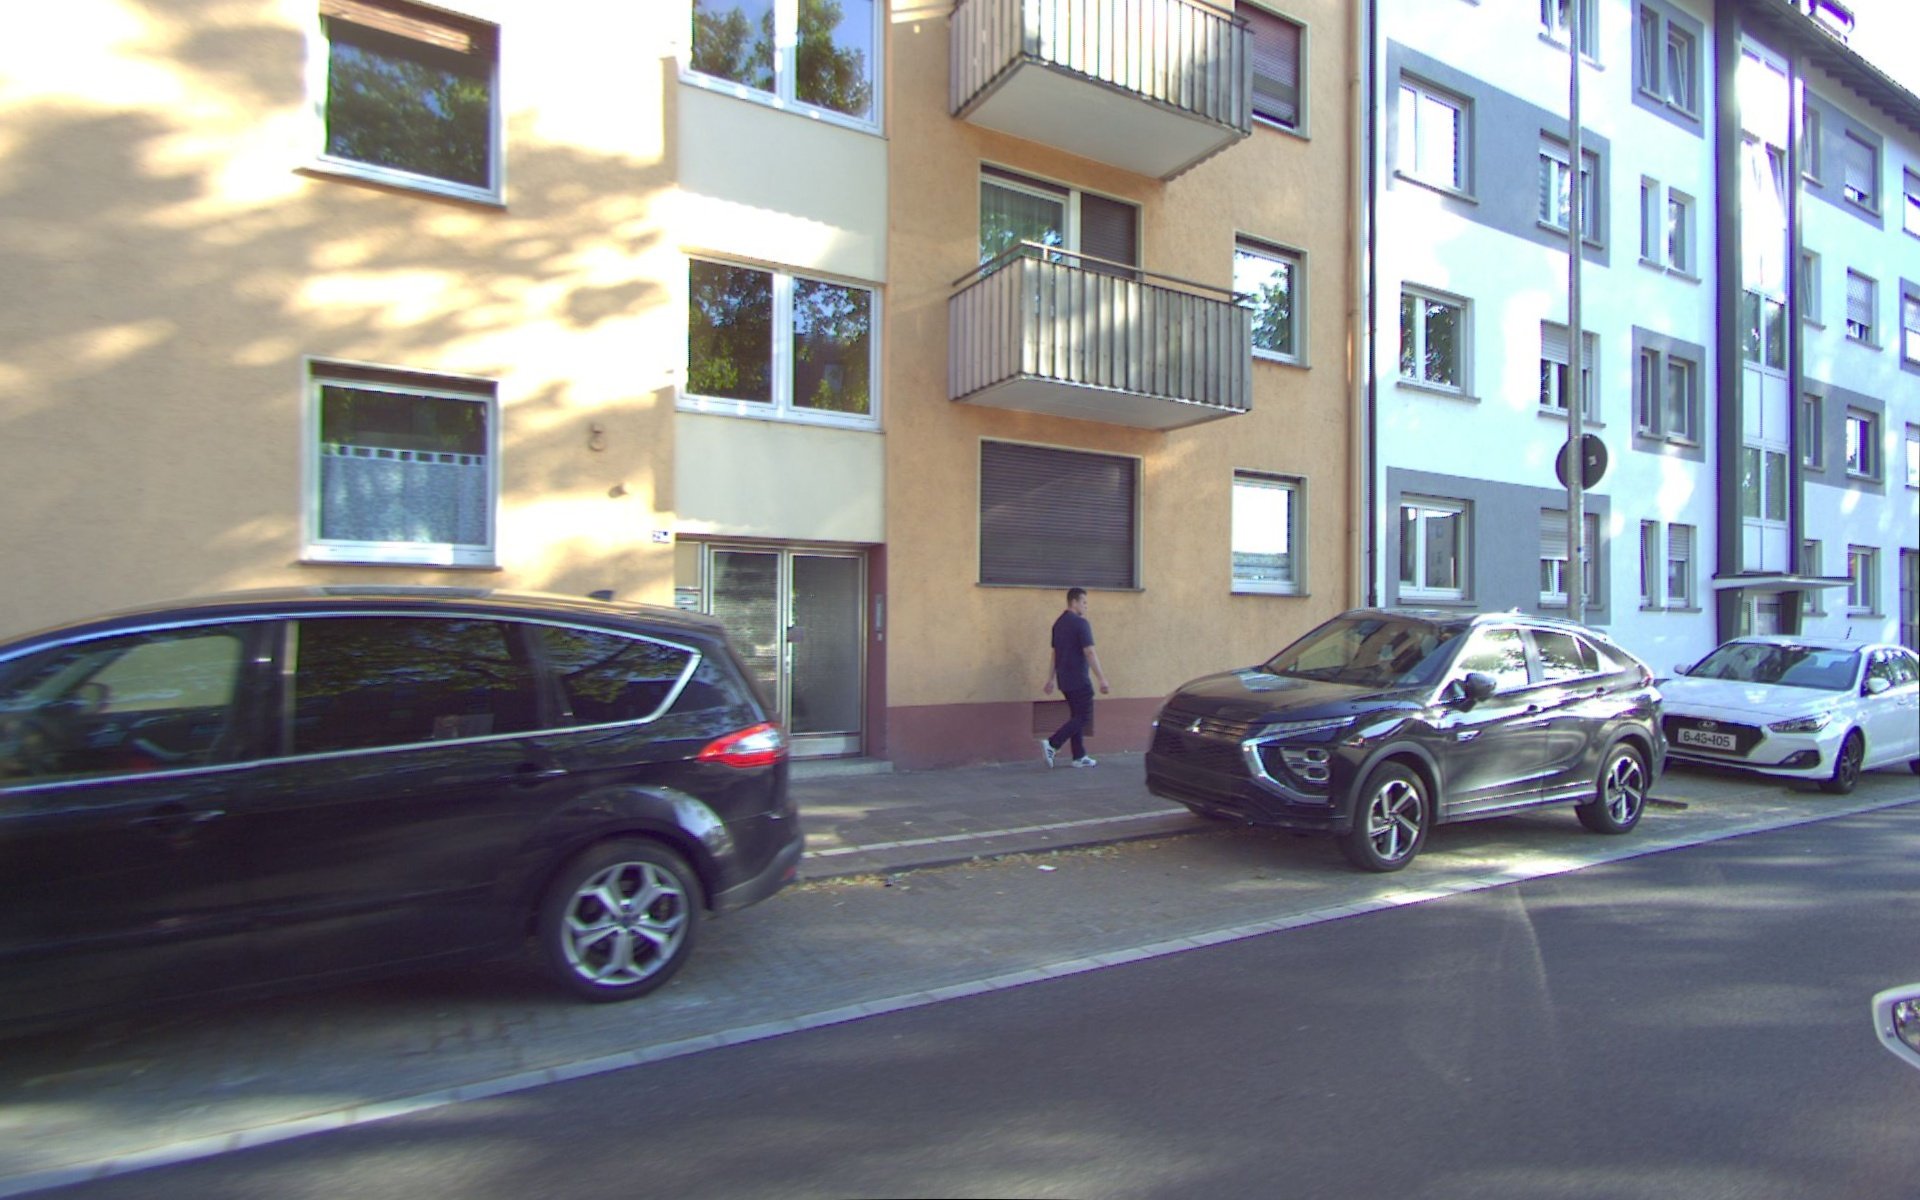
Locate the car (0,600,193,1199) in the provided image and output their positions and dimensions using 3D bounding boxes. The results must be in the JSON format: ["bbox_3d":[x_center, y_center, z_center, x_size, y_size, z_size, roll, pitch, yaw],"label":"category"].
[{"bbox_3d":[-3.281,0.758,0.514,4.359,1.543,1.656,1,-3,-30],"label":"car"}]

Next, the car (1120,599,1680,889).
[{"bbox_3d":[3.429,0.863,7.574,4.359,1.663,1.589,1,0,-30],"label":"car"}]

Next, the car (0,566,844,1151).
[{"bbox_3d":[-2.899,0.804,4.161,4.497,1.811,1.736,1,0,-31],"label":"car"}]

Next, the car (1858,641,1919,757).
[{"bbox_3d":[14.206,1.326,13.775,4.167,1.453,1.589,1,0,-30],"label":"car"}]

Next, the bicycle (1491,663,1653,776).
[{"bbox_3d":[6.483,1.232,10.640,1.688,1.101,0.555,1,-2,-22],"label":"bicycle"}]

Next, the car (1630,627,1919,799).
[{"bbox_3d":[9.199,1.100,11.013,3.959,1.544,1.540,1,0,-31],"label":"car"}]

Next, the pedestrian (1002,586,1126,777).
[{"bbox_3d":[1.029,0.767,9.990,0.922,1.792,0.762,1,1,-30],"label":"pedestrian"}]
